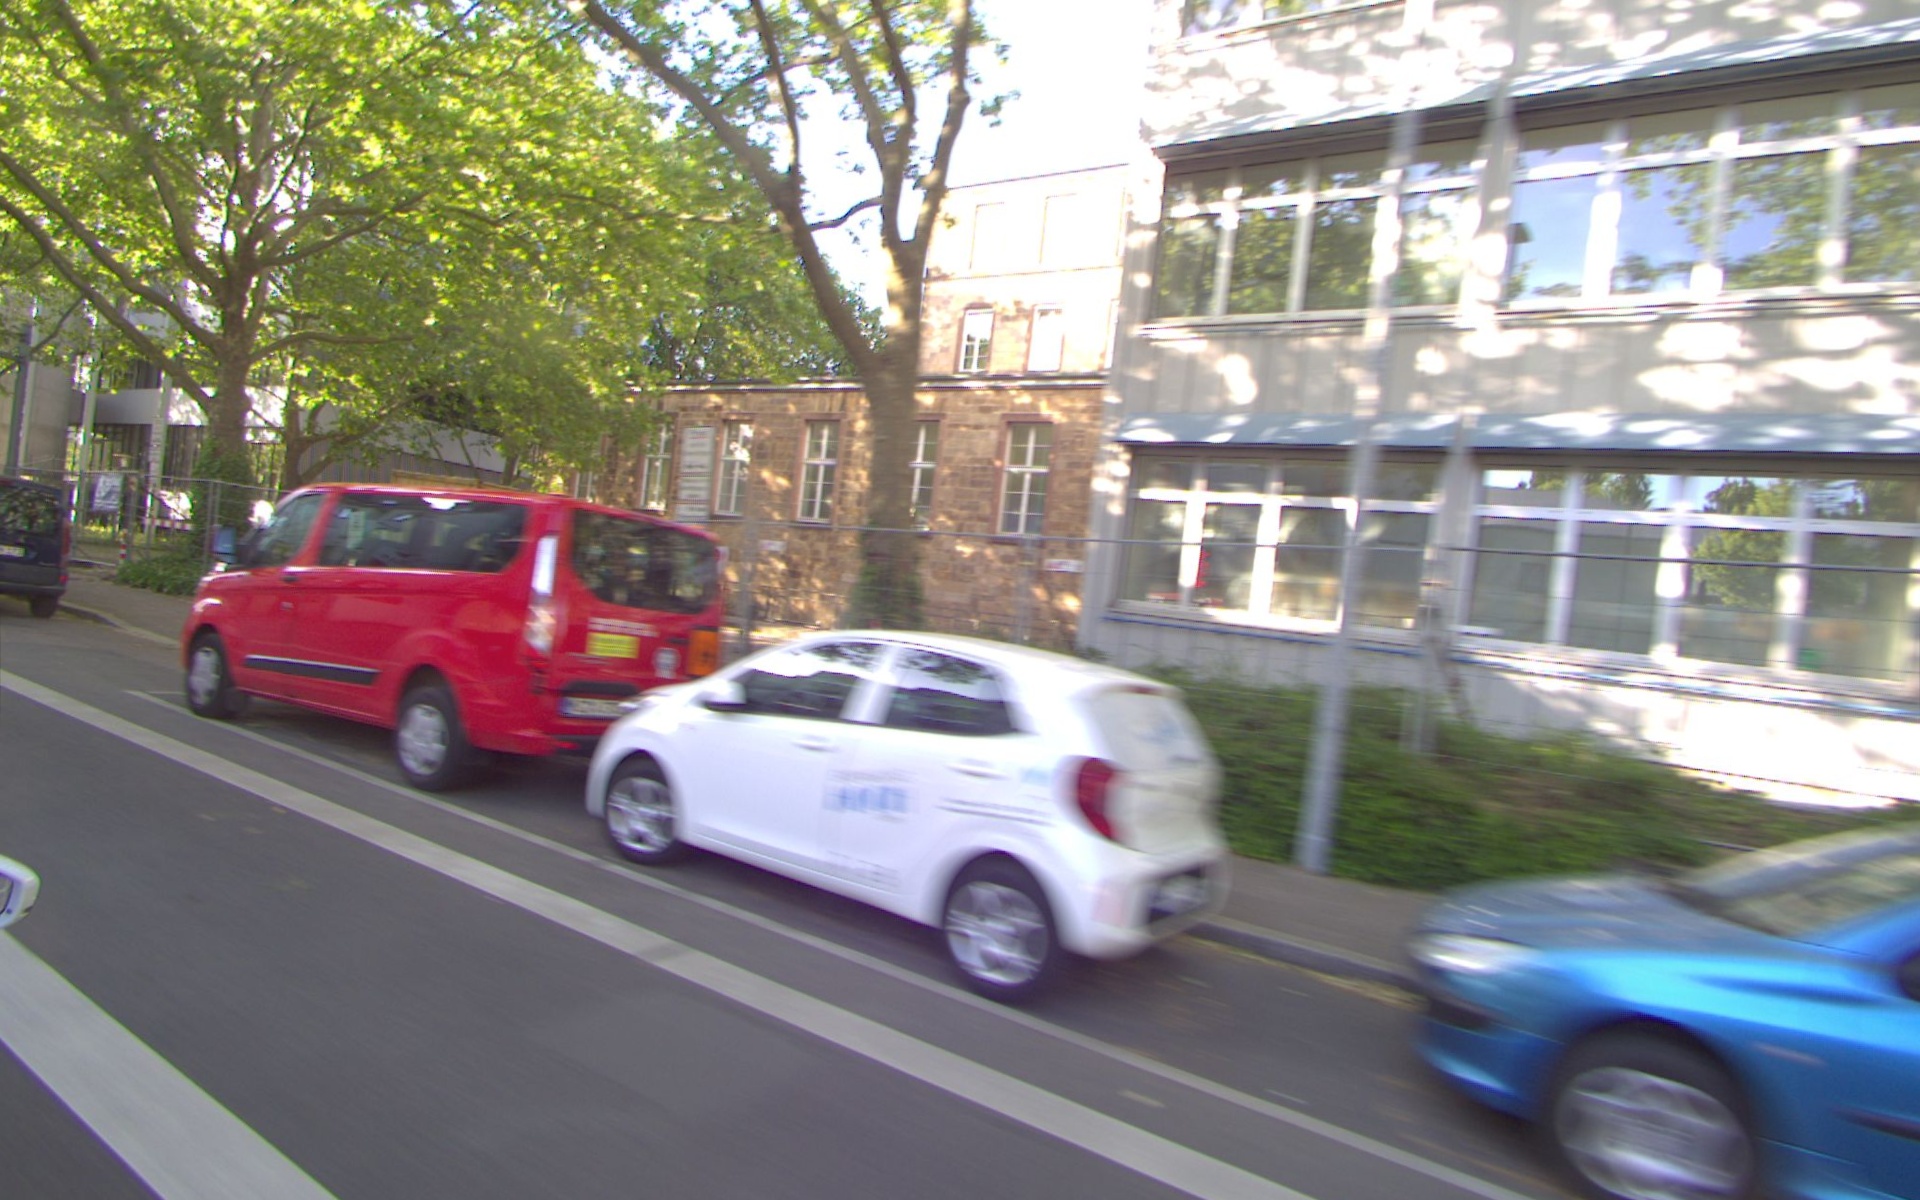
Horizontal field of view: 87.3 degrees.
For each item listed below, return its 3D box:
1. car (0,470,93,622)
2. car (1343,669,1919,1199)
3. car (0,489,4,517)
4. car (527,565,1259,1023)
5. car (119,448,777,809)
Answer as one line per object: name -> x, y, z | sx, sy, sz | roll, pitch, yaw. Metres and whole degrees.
car -> -13.811, -0.907, 13.759 | 4.062, 1.833, 1.696 | 7, -2, 33
car -> 3.527, 1.317, 3.356 | 3.861, 1.527, 1.861 | 7, -3, 29
car -> -17.515, -1.253, 16.240 | 4.256, 1.646, 1.698 | 7, -2, 29
car -> -0.485, 0.816, 5.628 | 3.698, 1.502, 1.641 | 7, -2, 33
car -> -4.237, 0.092, 8.122 | 5.083, 2.016, 2.084 | 7, -2, 29
